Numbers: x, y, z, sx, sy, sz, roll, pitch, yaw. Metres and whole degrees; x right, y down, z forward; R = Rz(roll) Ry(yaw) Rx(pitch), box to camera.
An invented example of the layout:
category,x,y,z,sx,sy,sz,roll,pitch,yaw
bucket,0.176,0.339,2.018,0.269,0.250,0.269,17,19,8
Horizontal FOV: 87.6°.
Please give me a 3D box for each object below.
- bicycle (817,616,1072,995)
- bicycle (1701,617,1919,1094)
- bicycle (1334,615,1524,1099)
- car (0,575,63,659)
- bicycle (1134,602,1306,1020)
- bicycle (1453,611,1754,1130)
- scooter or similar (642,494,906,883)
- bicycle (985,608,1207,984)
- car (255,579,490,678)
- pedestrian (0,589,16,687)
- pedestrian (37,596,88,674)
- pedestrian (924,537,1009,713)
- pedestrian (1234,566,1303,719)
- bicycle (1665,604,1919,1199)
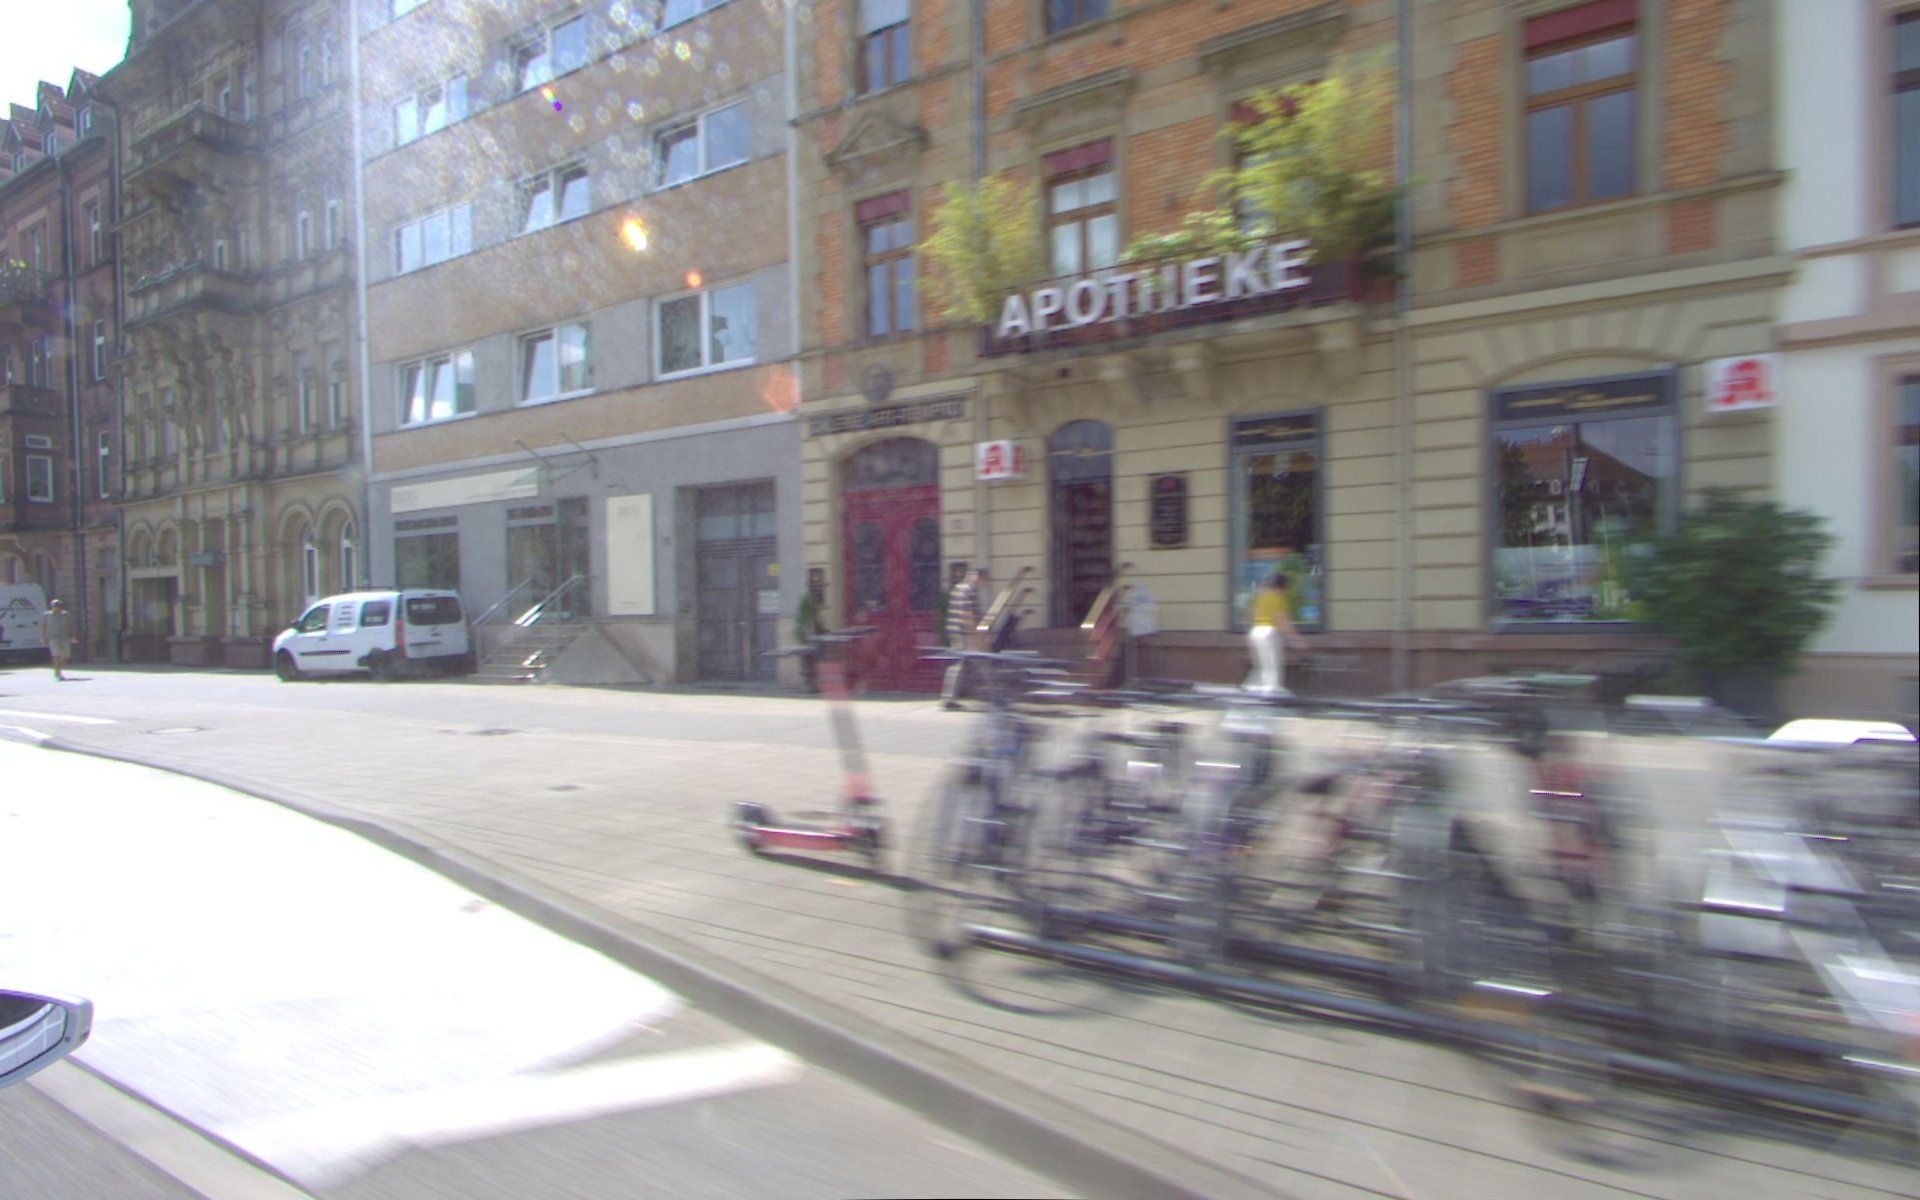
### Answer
category,x,y,z,sx,sy,sz,roll,pitch,yaw
bicycle,0.038,0.721,4.427,0.433,1.254,1.981,2,1,20
bicycle,2.965,0.704,3.114,0.433,1.254,1.927,2,1,18
bicycle,1.616,0.704,3.652,0.433,1.254,1.926,2,1,21
car,-31.343,0.554,32.305,5.803,2.559,1.990,-1,0,32
bicycle,1.112,0.647,4.019,0.433,1.254,1.926,2,1,21
bicycle,2.072,0.685,3.457,0.433,1.254,1.926,2,1,21
scooter or similar,-1.012,0.423,5.251,1.517,1.810,0.396,0,1,35
bicycle,0.679,0.675,4.366,0.434,1.254,1.925,2,1,23
car,-12.419,0.603,21.142,4.677,1.886,1.993,-1,0,26
pedestrian,-19.262,0.746,19.724,0.681,1.928,0.664,-1,1,13
pedestrian,-21.963,0.844,24.509,0.683,1.861,0.662,-1,1,25
pedestrian,0.083,0.293,12.592,0.774,2.128,0.719,2,2,32
pedestrian,3.613,0.476,11.721,0.603,1.721,0.577,2,2,32
bicycle,2.151,0.649,2.191,0.433,1.254,1.926,2,1,19
